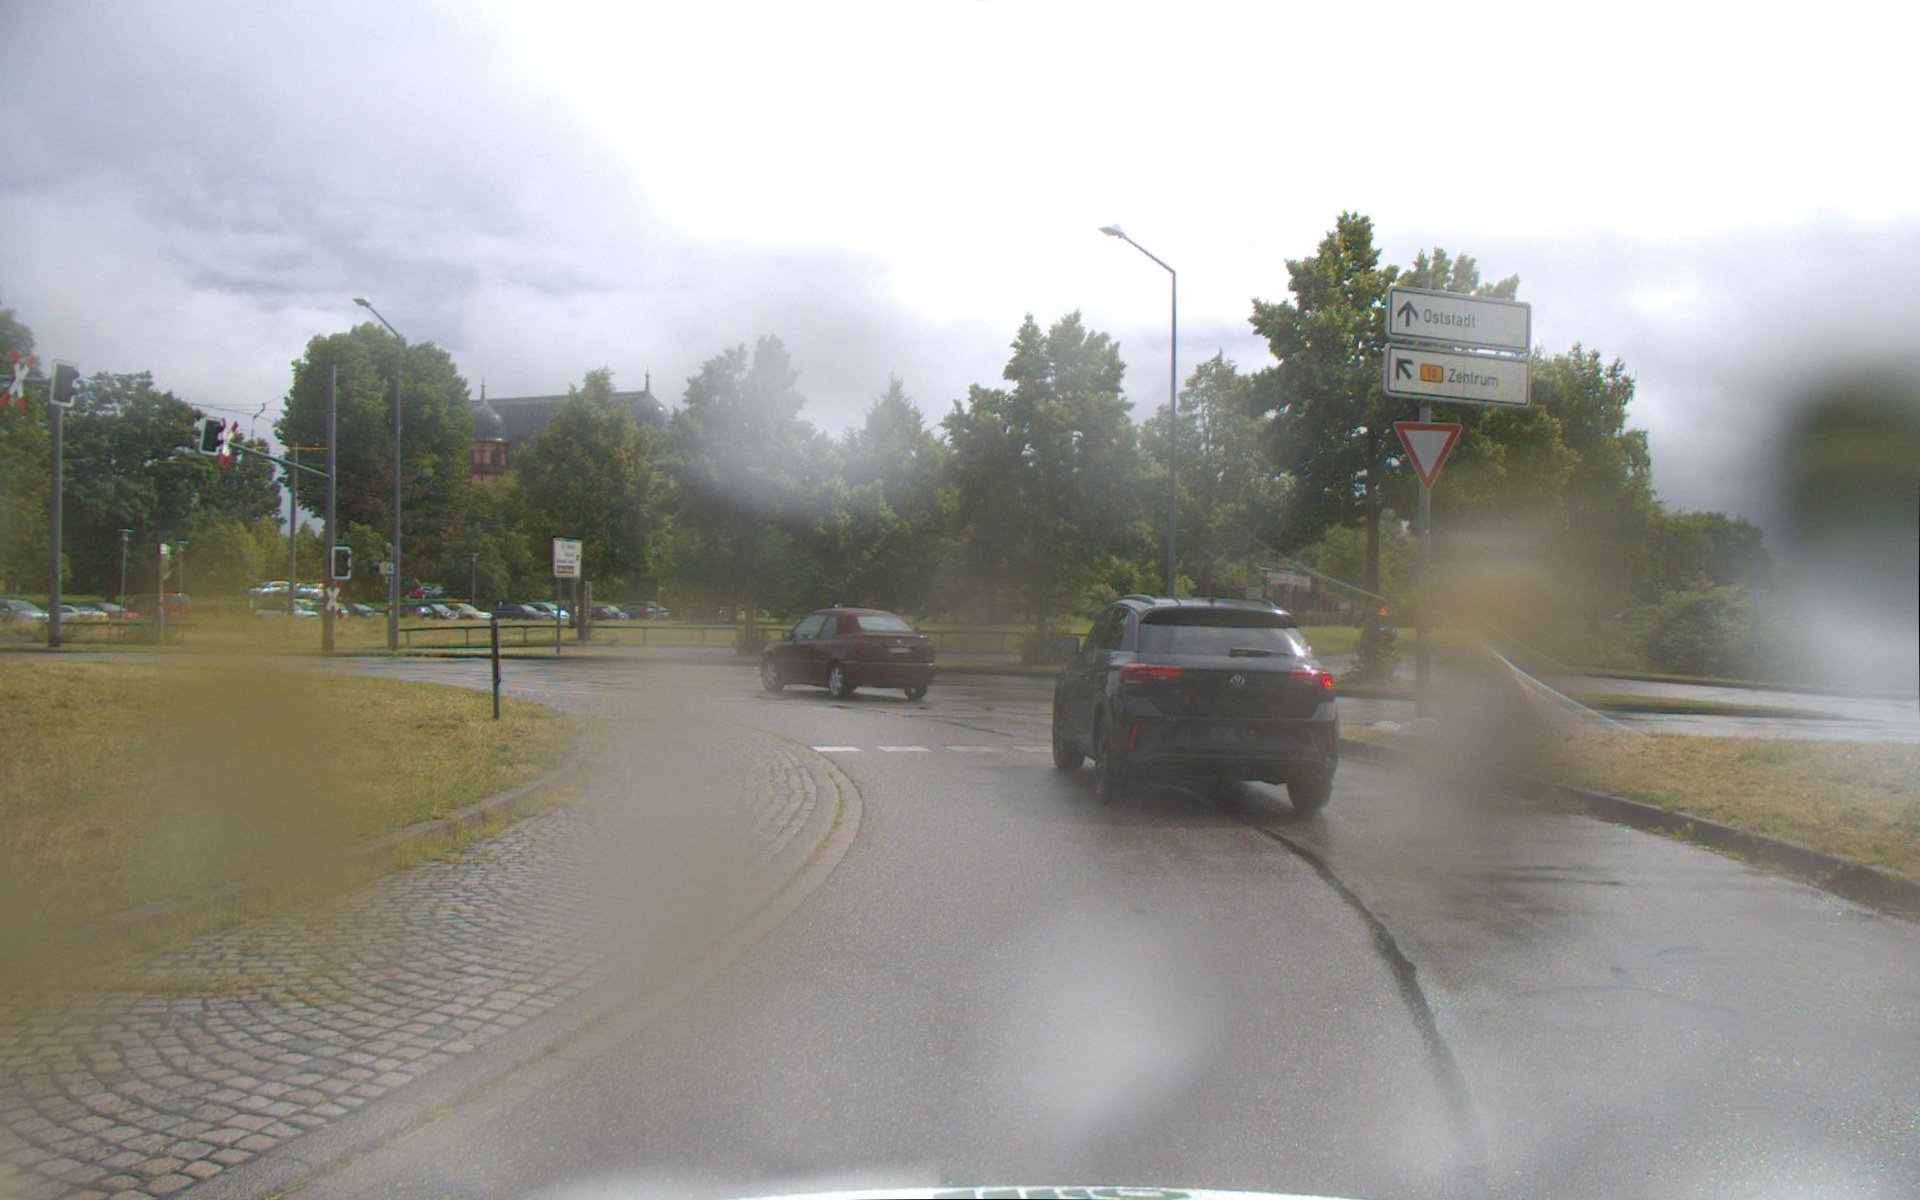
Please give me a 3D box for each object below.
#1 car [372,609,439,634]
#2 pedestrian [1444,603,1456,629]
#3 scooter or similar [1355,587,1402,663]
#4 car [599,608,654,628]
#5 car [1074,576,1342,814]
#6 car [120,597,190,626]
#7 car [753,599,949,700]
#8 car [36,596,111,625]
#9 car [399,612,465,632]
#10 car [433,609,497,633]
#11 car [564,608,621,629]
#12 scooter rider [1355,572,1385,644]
[{"bbox_3d":[-35.912,1.405,107.121,3.886,1.587,1.849,0,-1,24],"label":"car"},{"bbox_3d":[33.347,1.083,112.606,0.588,1.762,0.602,0,-3,41],"label":"pedestrian"},{"bbox_3d":[11.821,0.737,46.735,1.209,2.049,3.411,1,-2,14],"label":"scooter or similar"},{"bbox_3d":[-25.998,1.386,128.902,3.886,1.587,1.849,0,-1,24],"label":"car"},{"bbox_3d":[1.880,0.676,13.634,1.857,1.646,4.002,1,0,4],"label":"car"},{"bbox_3d":[-43.425,0.593,89.232,3.569,1.537,1.647,0,0,29],"label":"car"},{"bbox_3d":[-1.902,0.764,27.724,1.697,1.488,3.959,0,1,-31],"label":"car"},{"bbox_3d":[-45.320,0.535,84.538,3.528,1.487,1.643,0,0,26],"label":"car"},{"bbox_3d":[-35.021,1.437,109.706,3.886,1.331,1.849,0,-1,24],"label":"car"},{"bbox_3d":[-33.565,1.398,112.095,3.886,1.587,1.849,0,-1,24],"label":"car"},{"bbox_3d":[-27.800,1.386,125.268,3.886,1.587,1.849,0,-1,24],"label":"car"},{"bbox_3d":[11.765,0.234,47.482,0.689,2.049,0.771,1,-2,7],"label":"scooter rider"}]
